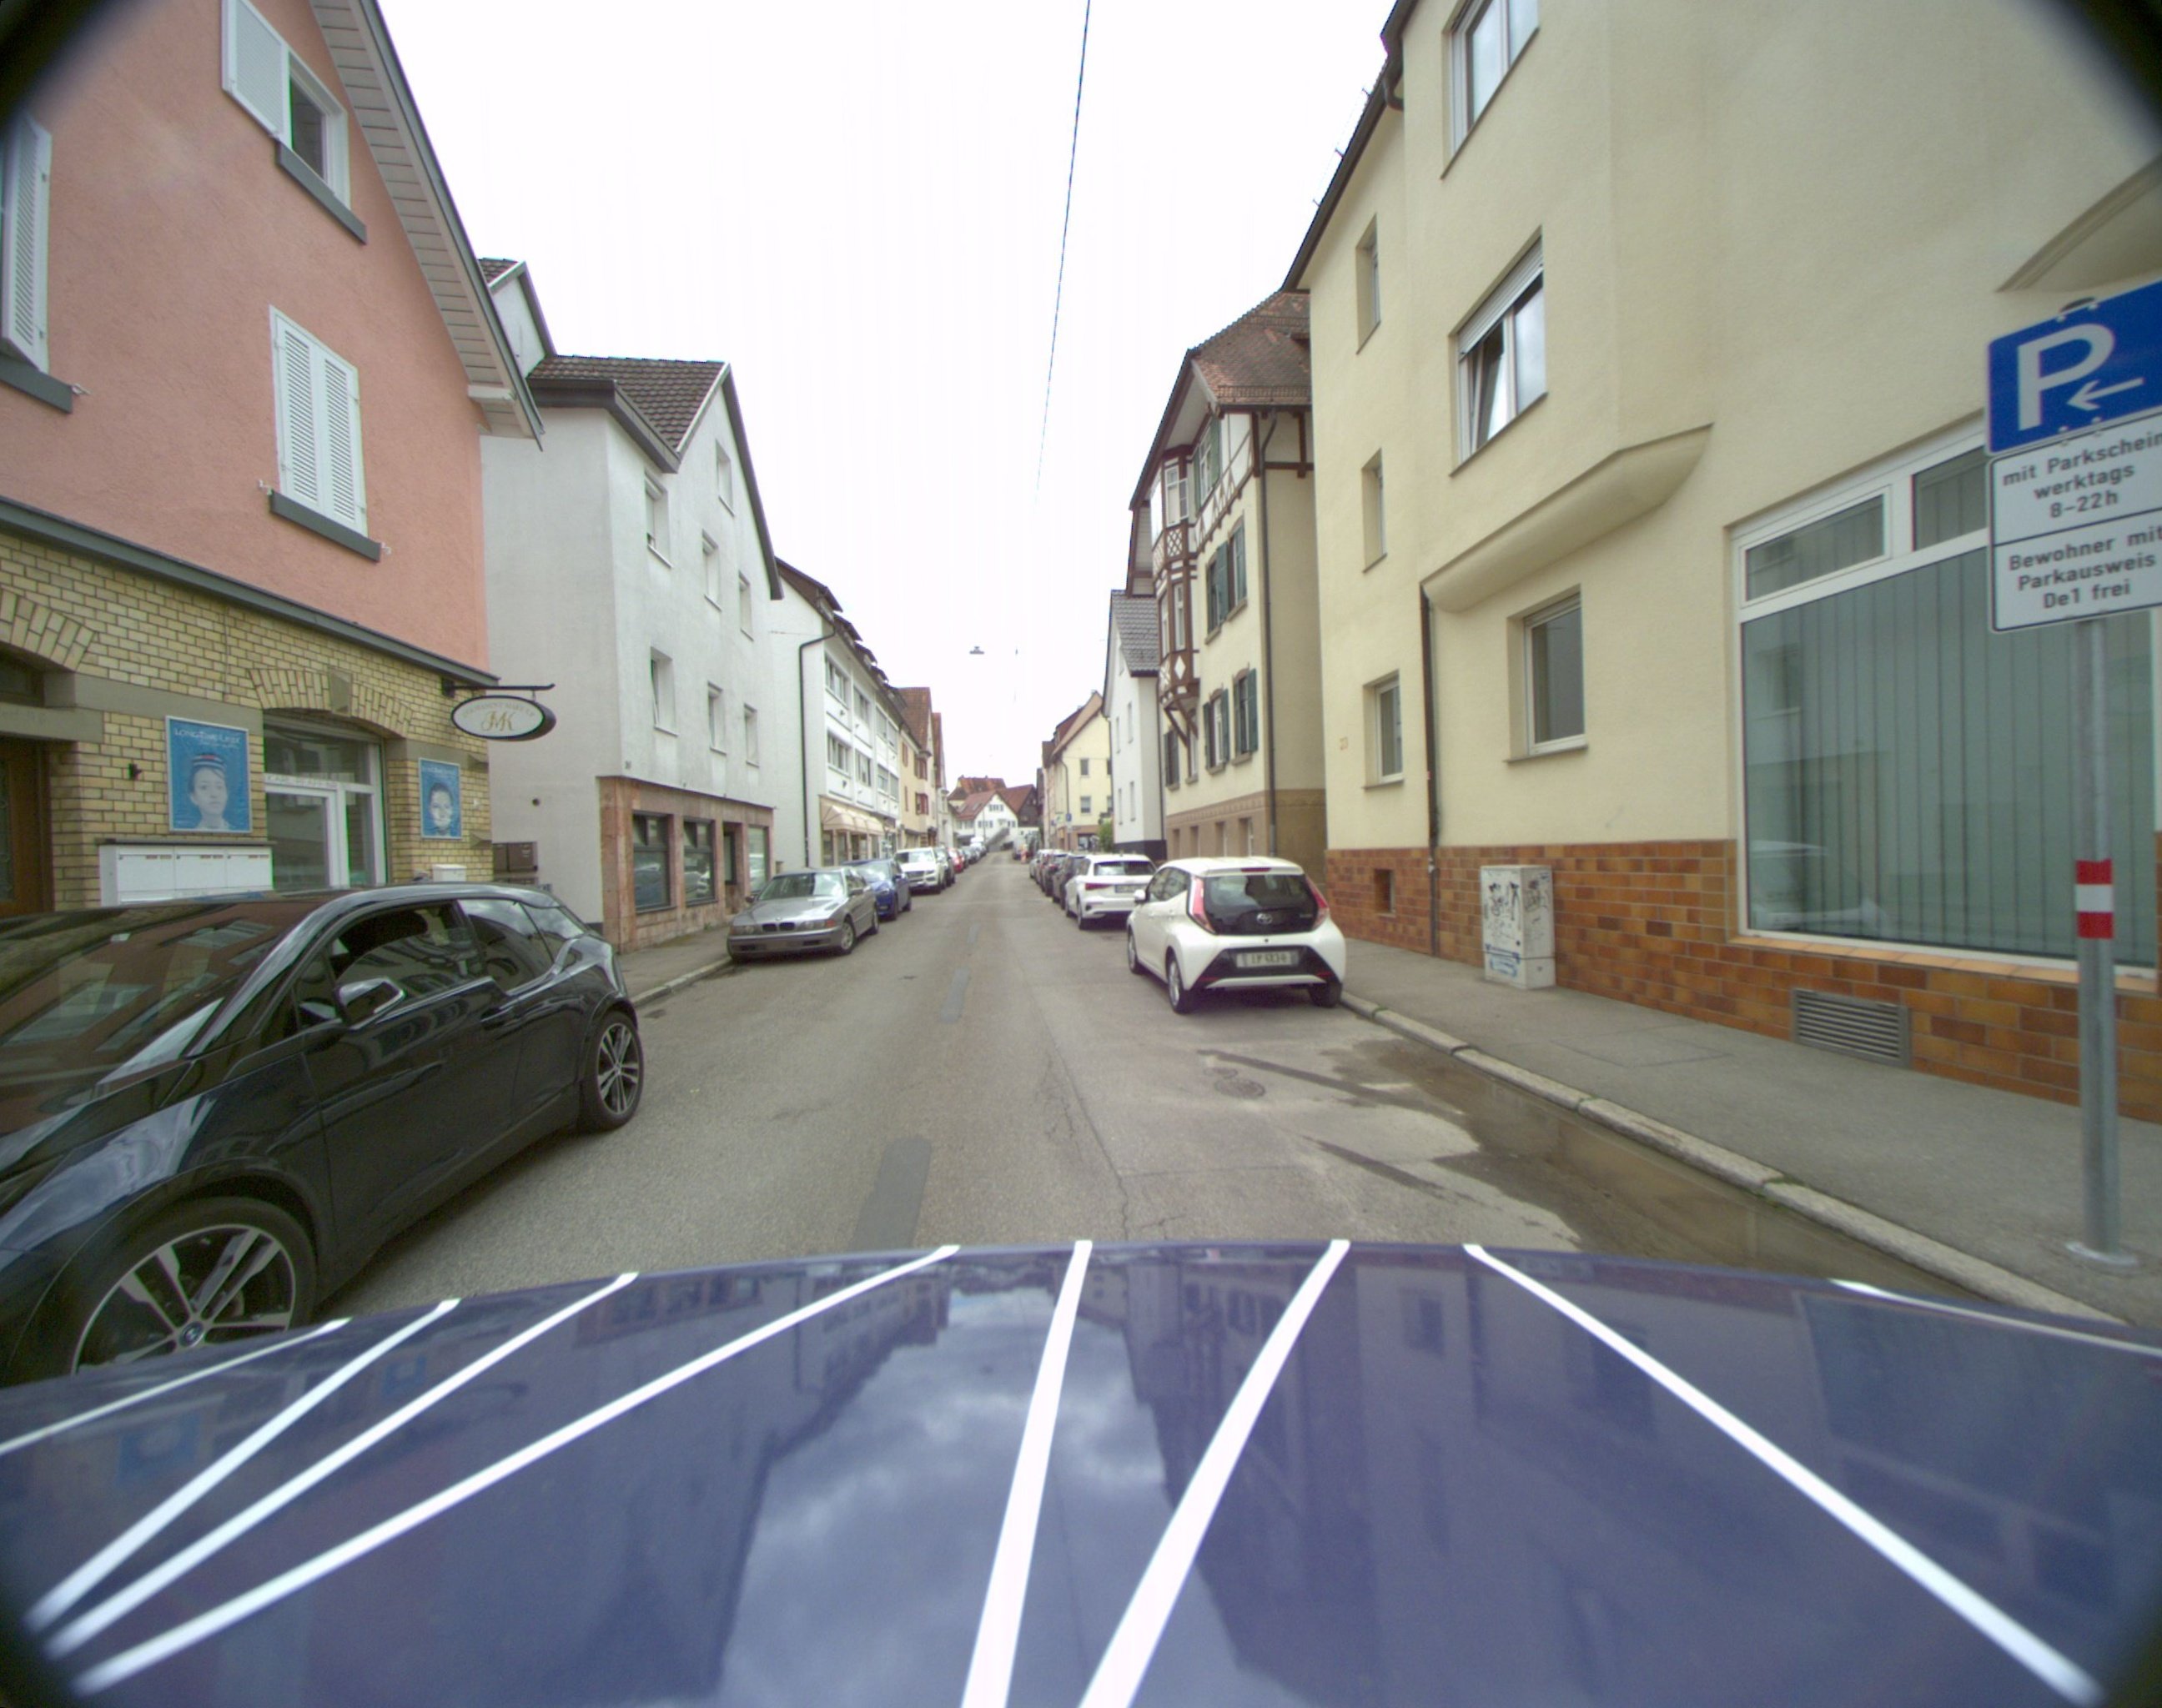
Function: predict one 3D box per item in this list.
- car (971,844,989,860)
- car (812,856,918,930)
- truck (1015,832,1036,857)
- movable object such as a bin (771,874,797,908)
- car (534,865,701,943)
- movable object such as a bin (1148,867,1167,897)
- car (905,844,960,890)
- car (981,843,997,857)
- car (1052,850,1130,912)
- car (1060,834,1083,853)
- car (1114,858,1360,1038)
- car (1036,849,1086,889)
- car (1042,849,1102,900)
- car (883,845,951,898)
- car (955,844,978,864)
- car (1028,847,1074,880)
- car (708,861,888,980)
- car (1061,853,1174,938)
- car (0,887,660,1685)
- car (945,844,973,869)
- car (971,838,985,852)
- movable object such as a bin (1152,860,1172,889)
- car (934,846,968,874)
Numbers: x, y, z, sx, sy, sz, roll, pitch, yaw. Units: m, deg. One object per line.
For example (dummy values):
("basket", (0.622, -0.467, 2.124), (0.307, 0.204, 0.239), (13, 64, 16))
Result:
("car", (-10.724, -0.266, 80.758), (1.607, 1.464, 3.548), (-5, 2, -5))
("car", (-5.216, 0.880, 18.859), (1.757, 1.424, 3.925), (-3, 2, -5))
("truck", (-5.705, -1.024, 77.401), (1.784, 2.378, 5.480), (-2, 2, -7))
("movable object such as a bin", (-8.577, 1.064, 21.937), (0.570, 0.924, 0.521), (1, 1, -5))
("car", (-11.099, 1.118, 18.553), (1.648, 1.424, 4.010), (-3, 2, -2))
("movable object such as a bin", (2.689, 0.980, 26.627), (0.515, 1.009, 0.603), (-3, 1, -5))
("car", (-6.512, 0.492, 33.807), (1.901, 1.780, 4.340), (-3, 2, -5))
("car", (-10.797, -0.497, 89.121), (1.607, 1.464, 3.548), (-5, 2, -5))
("car", (0.167, 0.671, 21.063), (1.757, 1.448, 4.367), (1, 2, -5))
("car", (-0.895, -0.964, 66.414), (1.607, 1.464, 3.548), (-5, 2, -5))
("car", (1.477, 0.832, 8.592), (1.672, 1.426, 3.813), (-1, 2, -6))
("car", (-0.881, 0.561, 31.163), (1.757, 1.441, 4.063), (0, 2, -6))
("car", (-0.382, 0.616, 25.705), (1.757, 1.501, 4.081), (1, 2, -5))
("car", (-6.044, 0.569, 28.508), (1.901, 1.696, 4.490), (-3, 2, -5))
("car", (-9.844, -0.030, 65.341), (1.607, 1.464, 3.985), (-5, 2, -5))
("car", (-1.507, 0.433, 36.726), (1.757, 1.423, 4.345), (0, 2, -9))
("car", (-4.705, 0.987, 13.383), (1.792, 1.409, 4.574), (-5, 2, -6))
("car", (0.607, 0.747, 15.931), (1.757, 1.424, 4.366), (0, 2, -6))
("car", (-3.497, 1.068, 2.984), (1.823, 1.534, 4.024), (-4, 1, -8))
("car", (-8.908, 0.158, 55.637), (1.607, 1.520, 3.985), (-5, 2, -5))
("car", (-13.609, -1.196, 100.339), (1.607, 1.717, 3.548), (-5, 2, -5))
("movable object such as a bin", (2.767, 0.698, 25.948), (0.515, 0.926, 0.603), (-3, 1, -5))
("car", (-8.155, 0.330, 47.982), (1.674, 1.520, 3.985), (-5, 2, -4))
